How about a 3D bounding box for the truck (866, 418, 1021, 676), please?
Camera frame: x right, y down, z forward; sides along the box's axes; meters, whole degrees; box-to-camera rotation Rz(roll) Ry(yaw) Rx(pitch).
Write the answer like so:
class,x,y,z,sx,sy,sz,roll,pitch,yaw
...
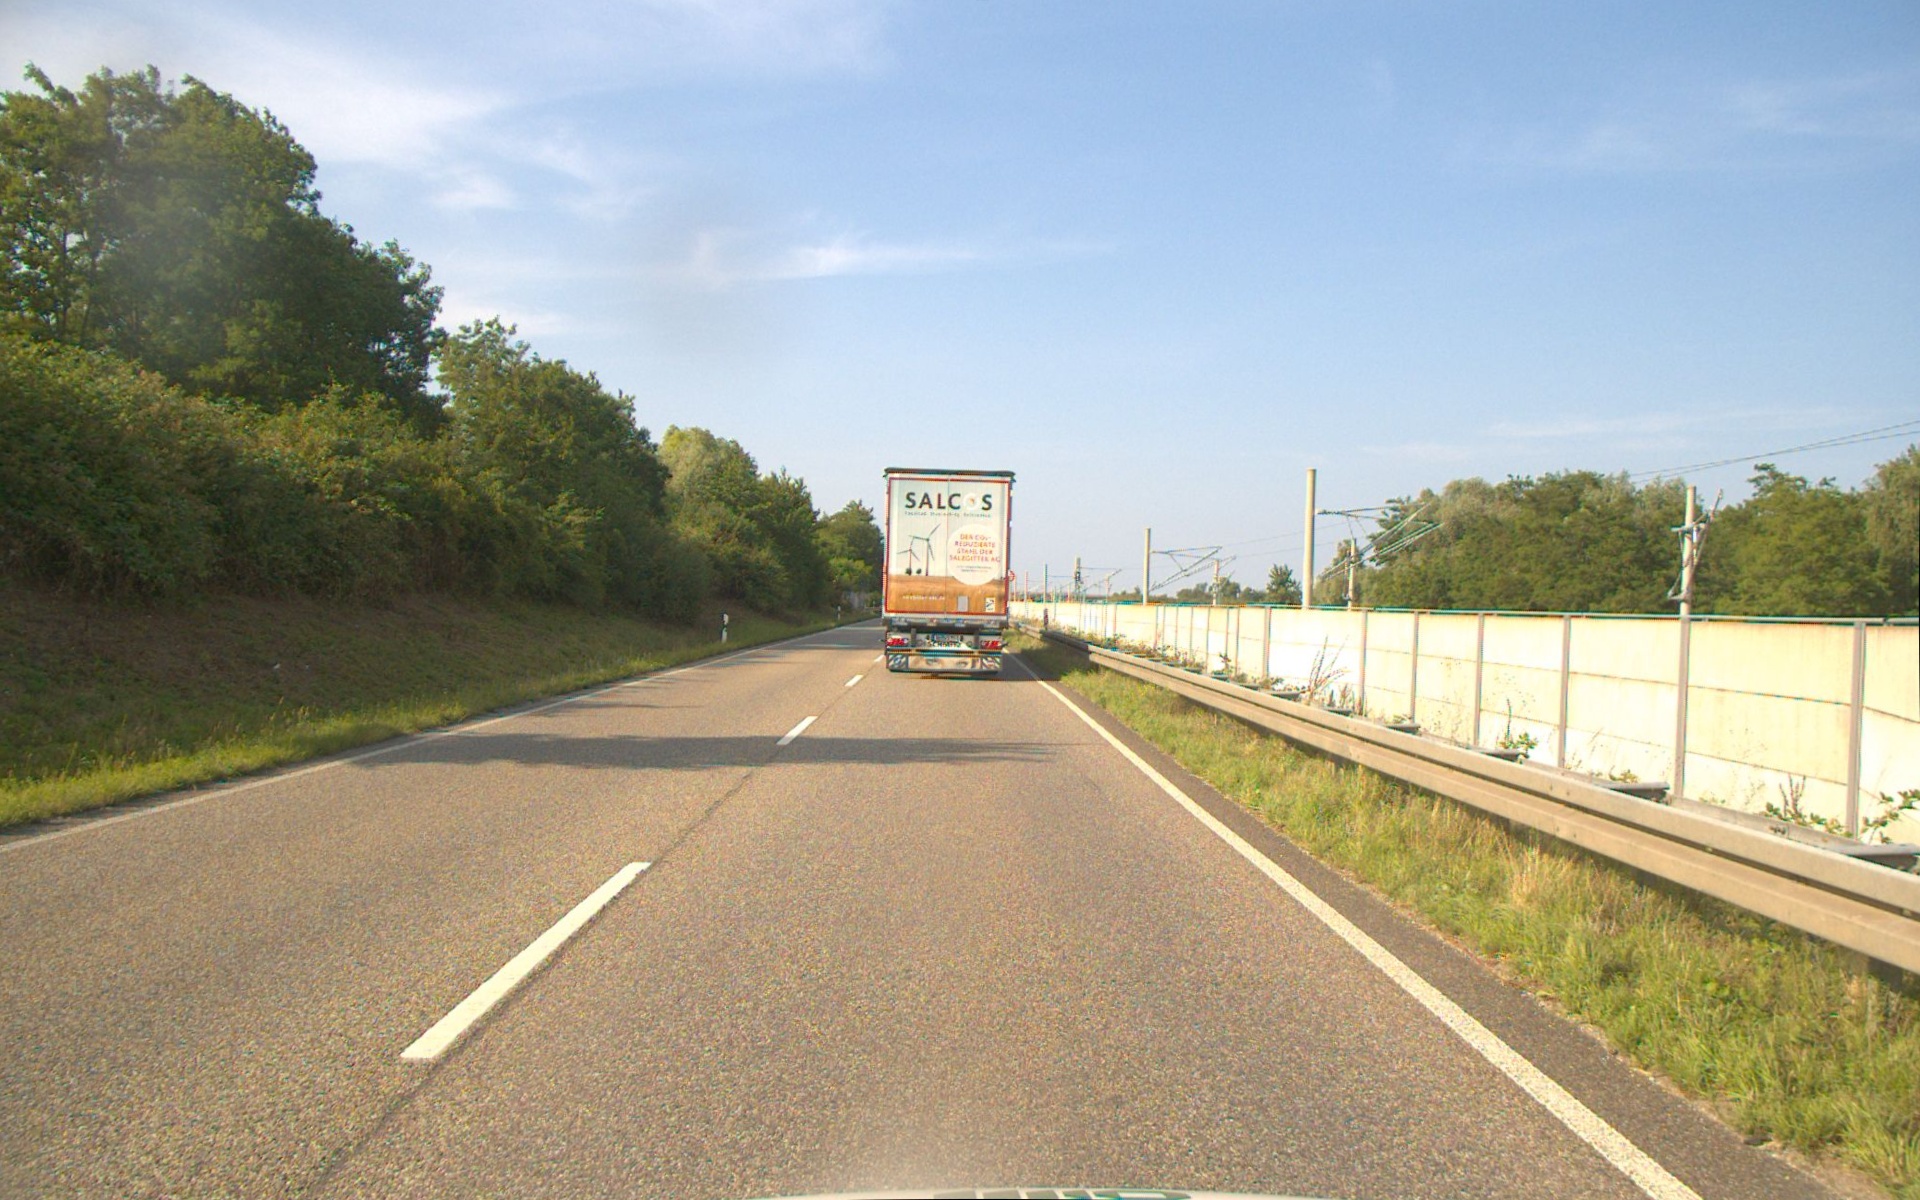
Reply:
class,x,y,z,sx,sy,sz,roll,pitch,yaw
truck,-0.483,-1.048,38.239,2.972,5.006,11.680,1,0,-2
